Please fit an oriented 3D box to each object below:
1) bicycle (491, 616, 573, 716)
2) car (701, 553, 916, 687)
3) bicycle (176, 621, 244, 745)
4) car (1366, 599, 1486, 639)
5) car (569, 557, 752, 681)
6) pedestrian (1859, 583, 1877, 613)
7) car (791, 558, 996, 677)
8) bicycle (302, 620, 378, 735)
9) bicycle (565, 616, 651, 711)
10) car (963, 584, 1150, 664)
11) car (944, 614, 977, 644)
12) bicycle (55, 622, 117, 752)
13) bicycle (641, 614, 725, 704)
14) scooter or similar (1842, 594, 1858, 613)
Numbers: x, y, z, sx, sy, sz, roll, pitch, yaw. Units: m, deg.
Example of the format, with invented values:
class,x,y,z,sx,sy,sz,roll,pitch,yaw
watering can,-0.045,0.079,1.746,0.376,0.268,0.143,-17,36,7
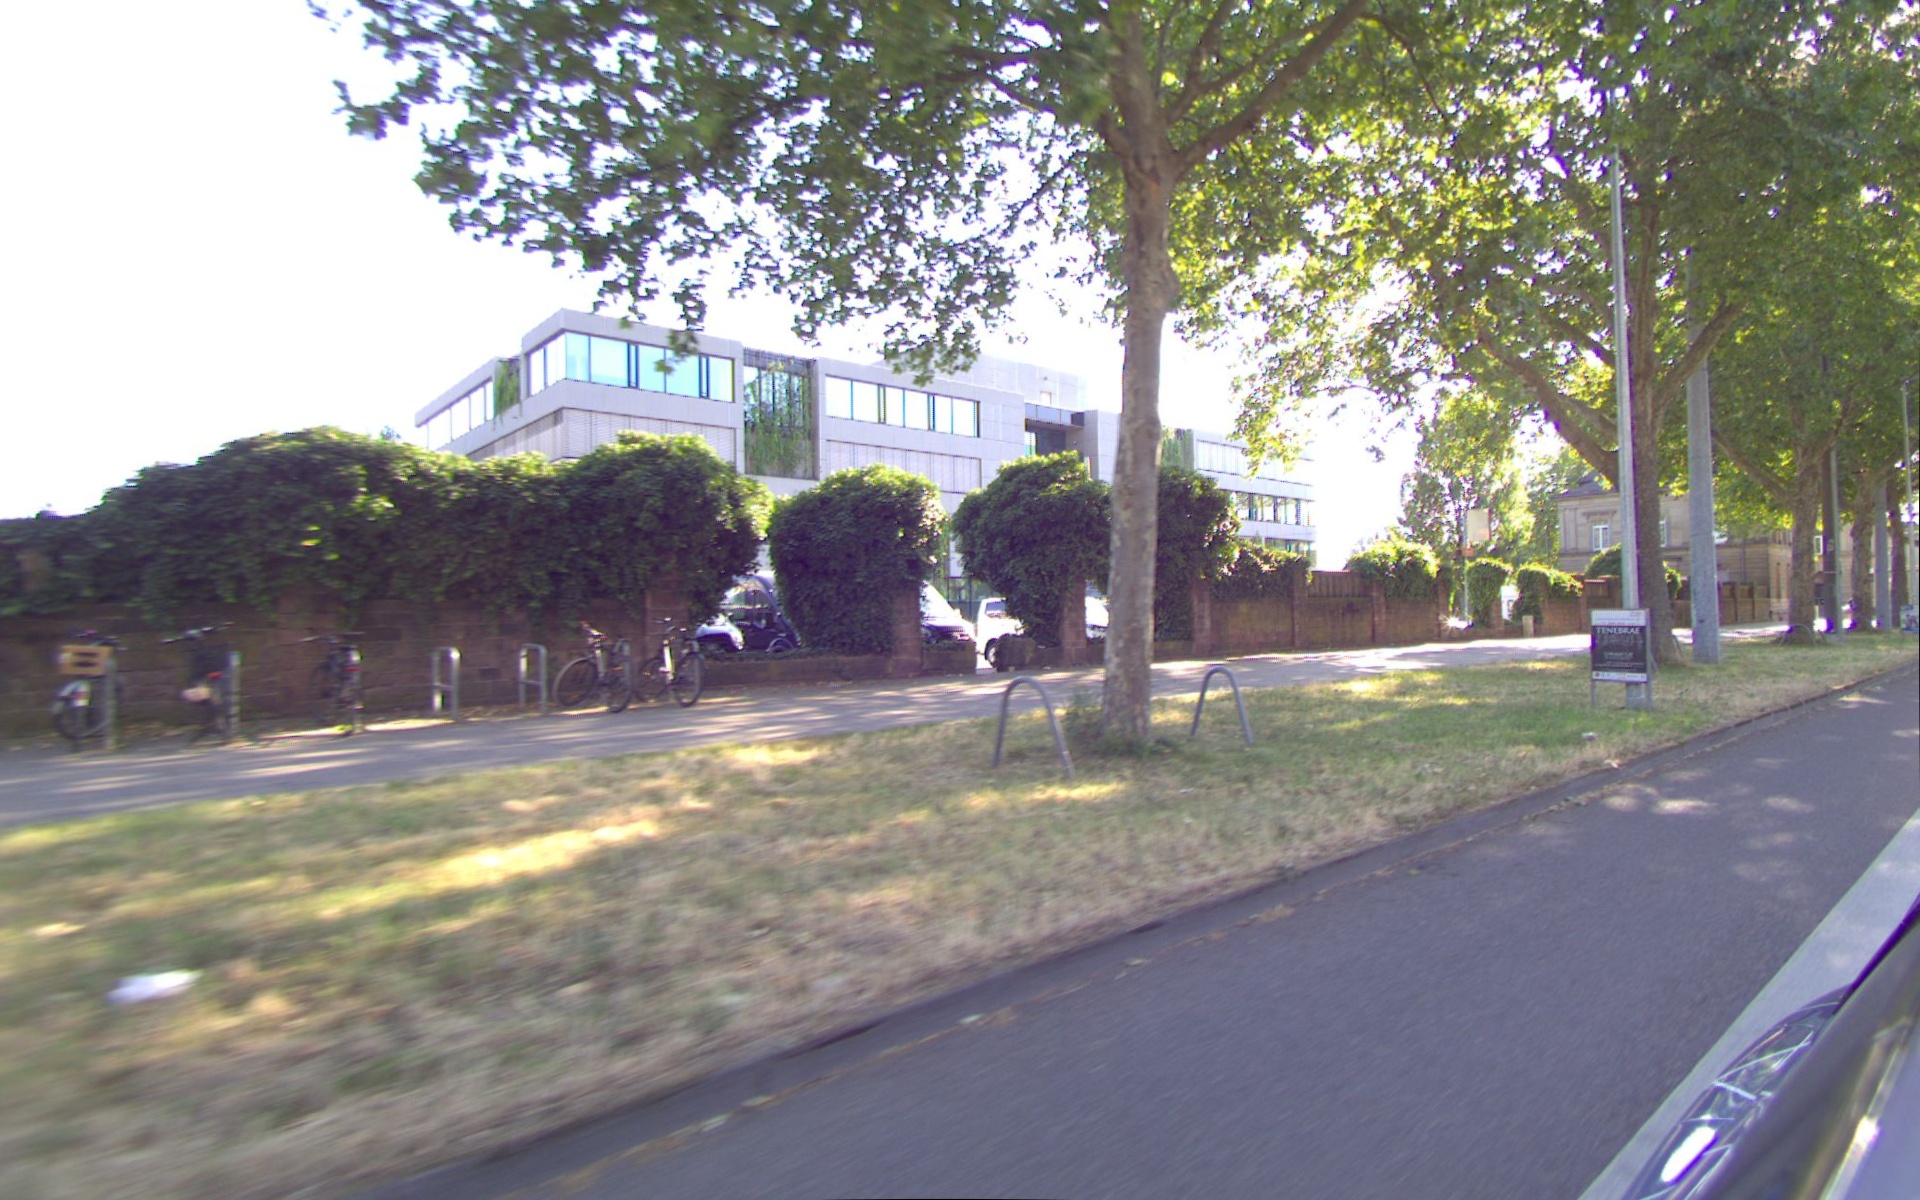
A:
class,x,y,z,sx,sy,sz,roll,pitch,yaw
bicycle,-5.362,0.780,12.629,0.432,1.134,1.776,0,0,-41
car,-3.425,0.463,21.808,1.965,2.522,5.468,0,-2,-41
bicycle,-7.708,0.802,10.383,0.432,1.134,1.776,0,0,-41
car,19.168,0.791,41.700,4.099,1.541,2.012,-2,-1,41
car,-5.932,0.347,19.777,1.965,2.164,3.993,0,-1,-41
pedestrian,54.334,-0.111,60.571,0.769,1.766,0.784,0,0,43
car,-1.732,0.450,24.099,1.965,2.522,5.468,0,-2,-41
bicycle,-6.839,0.803,11.128,0.432,1.134,1.776,0,0,-41
bicycle,-4.606,0.786,13.179,0.432,1.134,1.776,0,0,-41
car,2.567,0.681,28.182,1.965,2.007,5.270,0,-2,-41
car,-0.005,1.563,54.904,1.618,1.541,3.667,-1,-1,-2
bicycle,-8.570,0.800,9.933,0.432,1.134,1.776,0,0,-41
bicycle,-3.814,0.780,13.866,0.432,1.134,1.690,0,0,-41
scooter or similar,53.642,0.212,61.006,0.718,1.170,0.748,0,0,43
